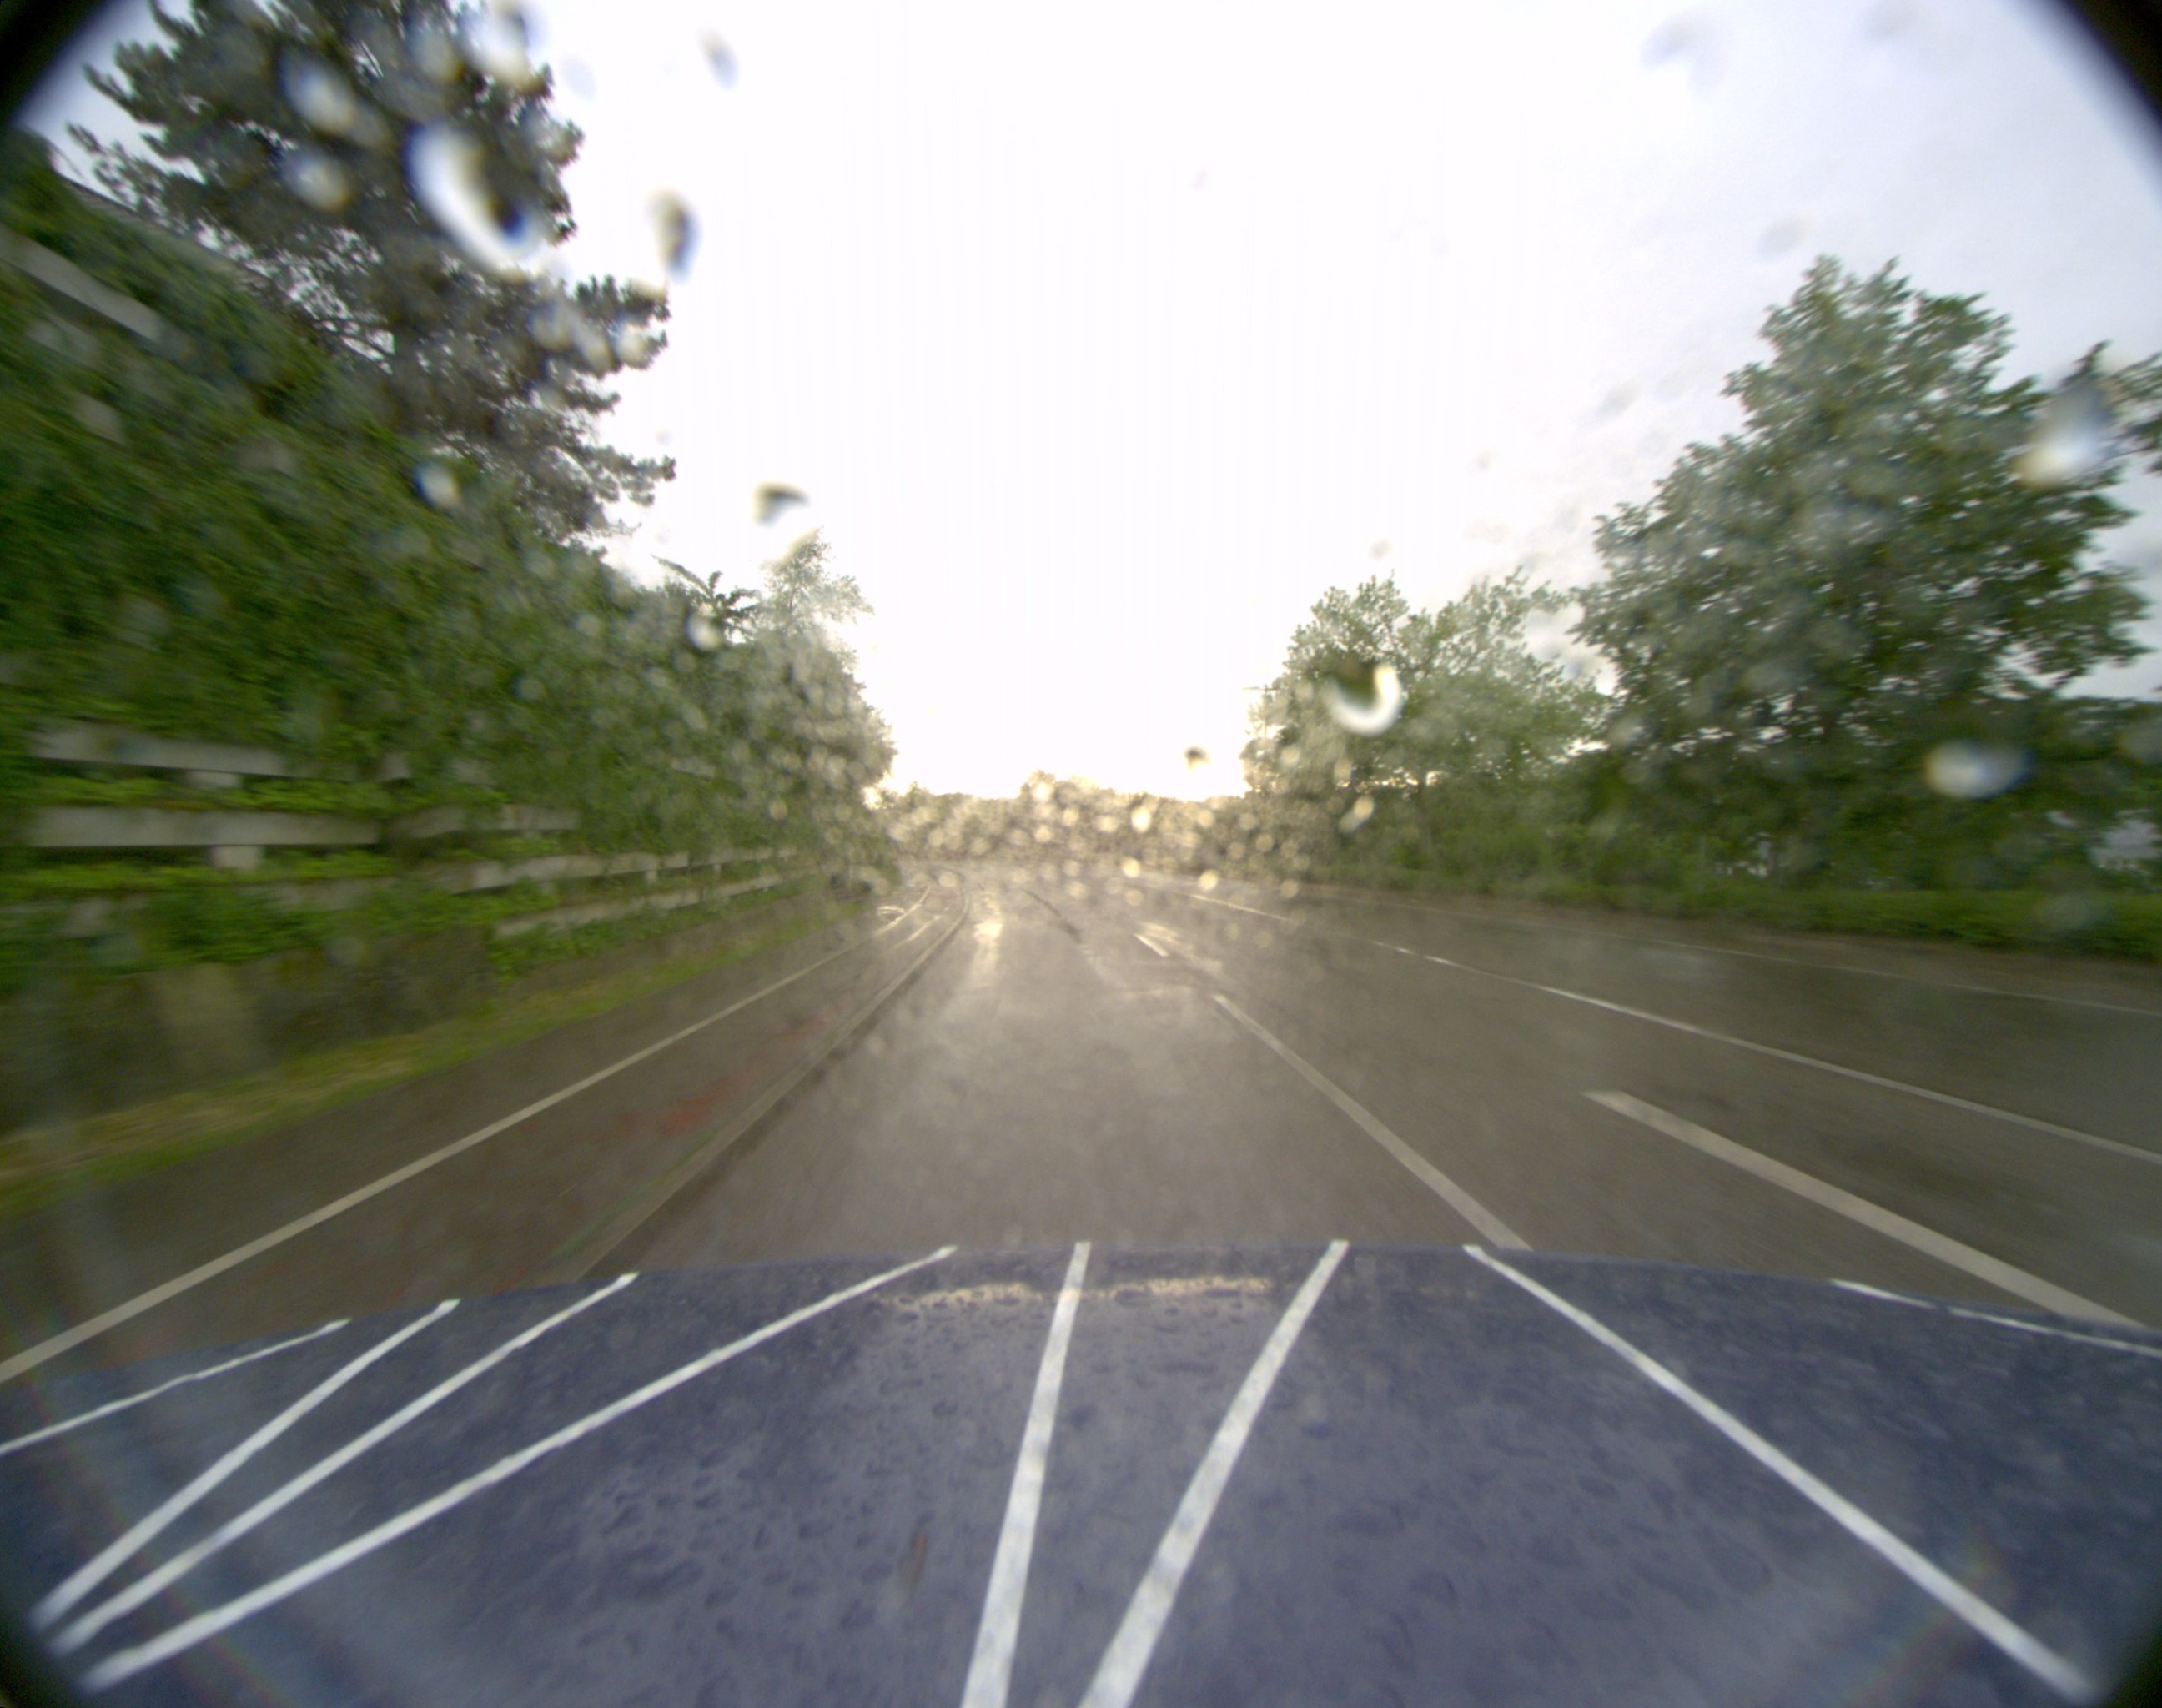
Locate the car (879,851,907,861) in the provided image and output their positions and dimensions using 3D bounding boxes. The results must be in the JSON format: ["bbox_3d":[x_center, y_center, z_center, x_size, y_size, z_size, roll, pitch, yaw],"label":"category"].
[{"bbox_3d":[-29.101,0.262,117.523,4.531,1.453,1.732,-2,0,36],"label":"car"}]

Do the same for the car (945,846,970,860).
[{"bbox_3d":[-14.271,-0.096,87.984,1.762,1.526,3.992,-2,0,-26],"label":"car"}]
